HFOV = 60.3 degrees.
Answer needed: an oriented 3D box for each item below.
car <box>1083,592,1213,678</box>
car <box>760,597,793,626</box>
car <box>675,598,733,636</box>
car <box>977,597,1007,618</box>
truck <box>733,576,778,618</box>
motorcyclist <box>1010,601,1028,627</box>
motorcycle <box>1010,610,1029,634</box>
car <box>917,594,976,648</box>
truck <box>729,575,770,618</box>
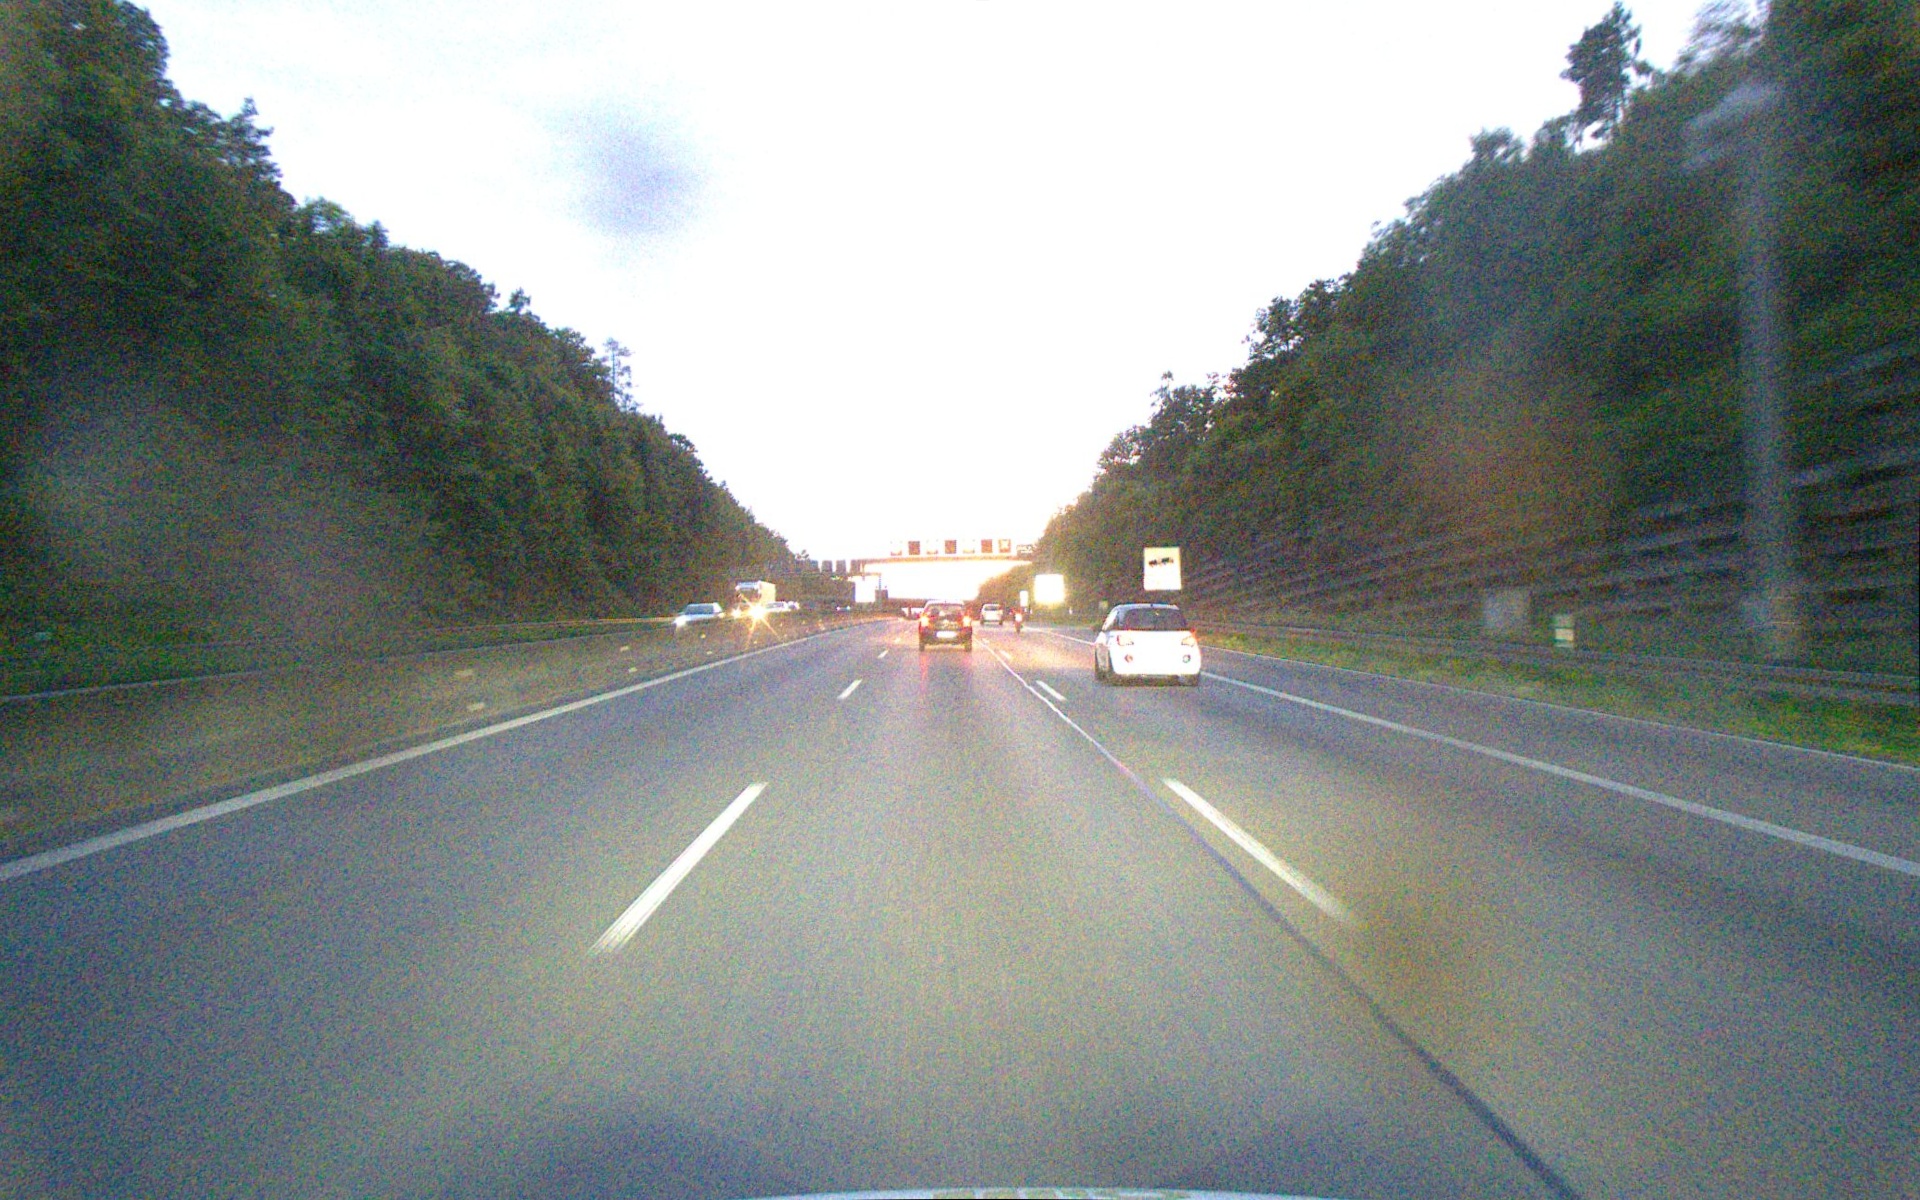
[{"bbox_3d":[3.507,0.671,31.647,1.789,1.501,4.396,1,-1,-3],"label":"car"},{"bbox_3d":[-12.594,0.765,114.007,1.892,1.965,5.109,-1,0,-3],"label":"car"},{"bbox_3d":[-11.787,0.759,76.416,1.878,1.641,5.158,-1,0,-1],"label":"car"},{"bbox_3d":[2.445,0.622,127.140,1.829,1.520,4.393,1,-1,-5],"label":"car"},{"bbox_3d":[-21.148,-0.311,171.779,3.289,4.073,14.491,-1,0,-2],"label":"truck"},{"bbox_3d":[2.947,0.702,82.509,0.813,1.314,1.190,0,-1,-1],"label":"motorcyclist"},{"bbox_3d":[2.952,1.091,82.572,0.813,1.154,2.475,0,-1,-1],"label":"motorcycle"},{"bbox_3d":[-0.416,0.653,49.850,1.669,1.536,4.230,1,-1,-1],"label":"car"},{"bbox_3d":[-20.953,-0.348,164.711,3.312,4.073,6.877,-1,0,-2],"label":"truck"}]
